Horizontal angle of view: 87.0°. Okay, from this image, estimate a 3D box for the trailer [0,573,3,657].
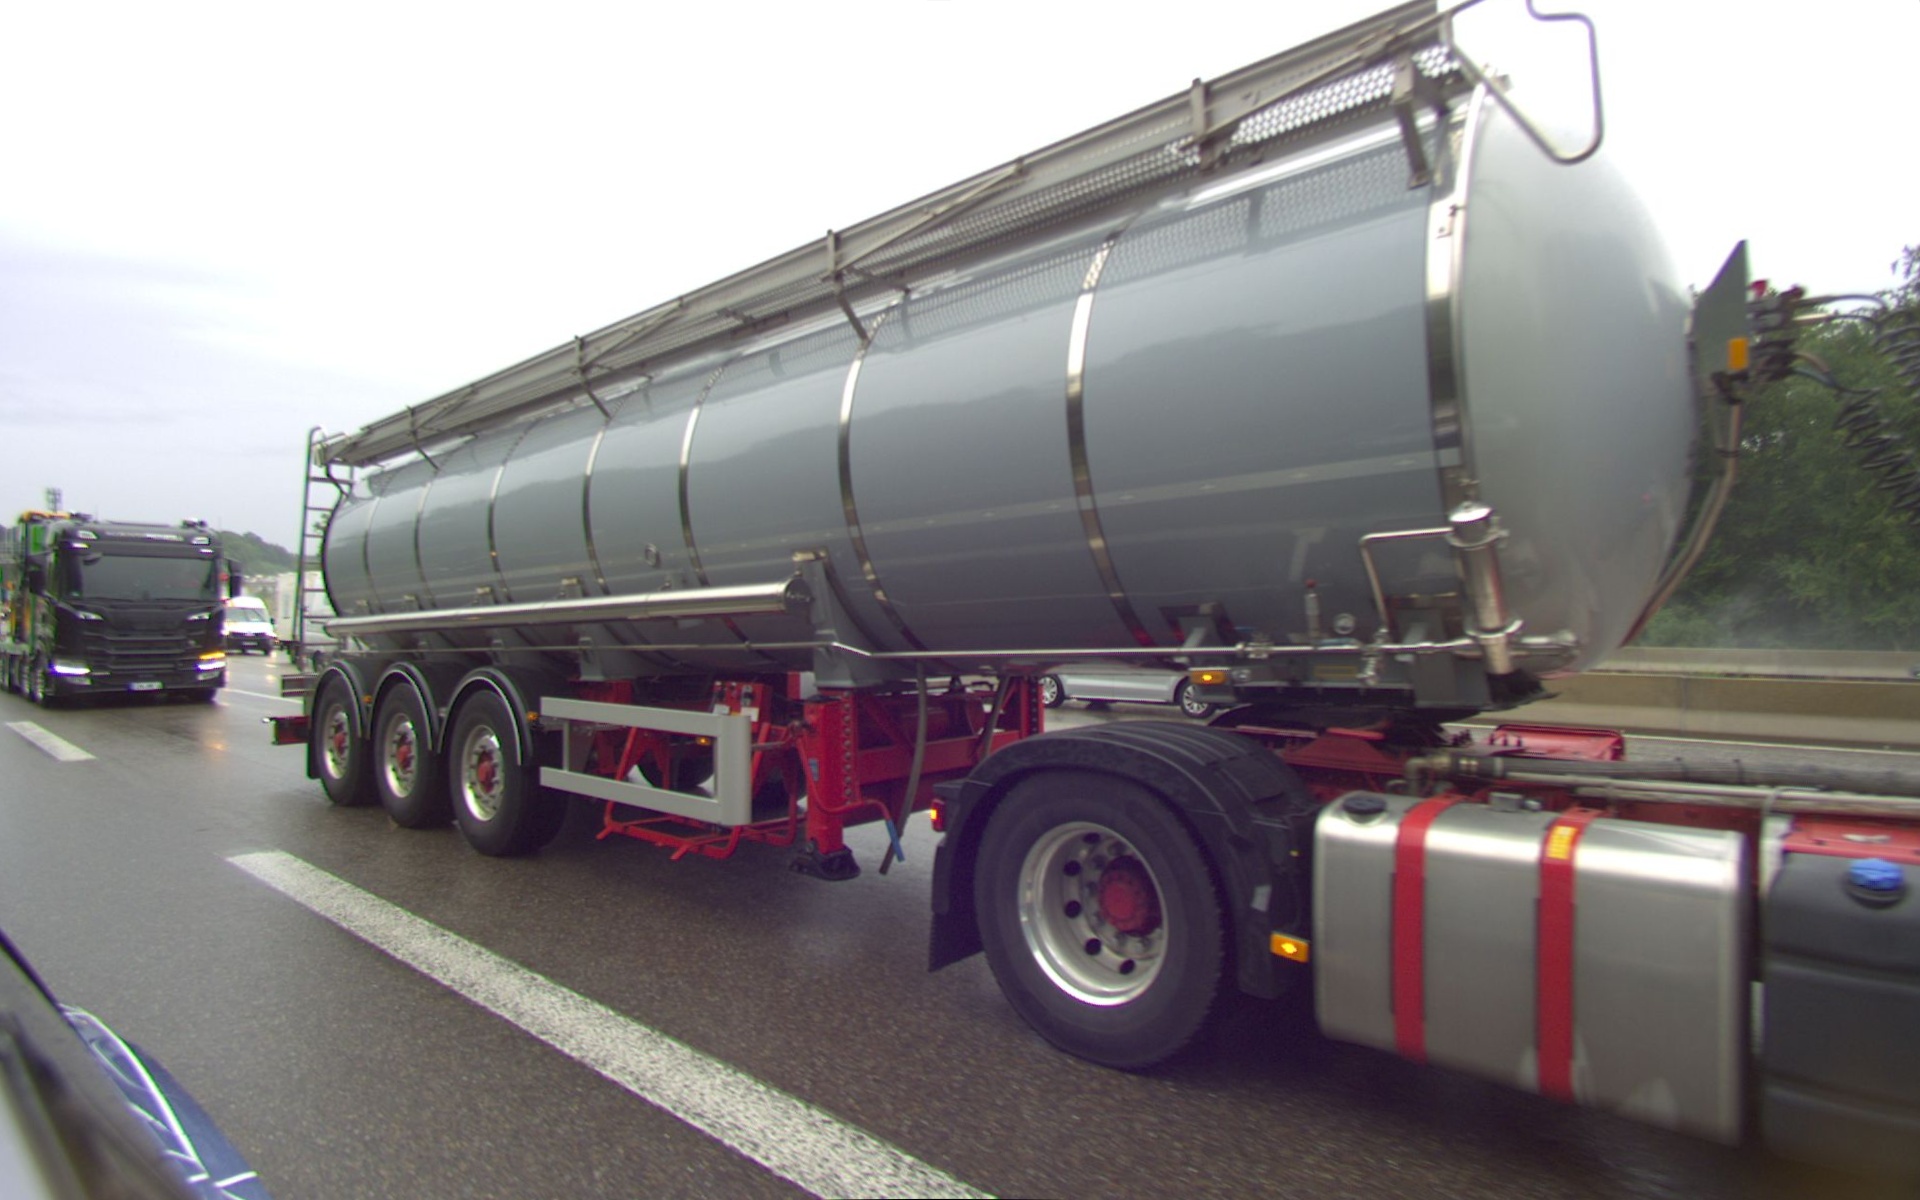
[{"bbox_3d":[-53.864,0.741,54.704,2.884,4.237,13.646,1,-1,-44],"label":"trailer"}]

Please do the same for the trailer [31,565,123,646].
[{"bbox_3d":[-47.530,0.351,54.288,13.680,3.893,2.597,-1,-1,44],"label":"trailer"}]

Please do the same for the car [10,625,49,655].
[{"bbox_3d":[-65.367,2.781,71.108,4.002,1.785,1.738,1,3,44],"label":"car"}]

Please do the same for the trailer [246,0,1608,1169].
[{"bbox_3d":[-1.734,-0.135,6.934,10.072,3.314,2.844,-2,-2,41],"label":"trailer"}]

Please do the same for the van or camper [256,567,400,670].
[{"bbox_3d":[-22.015,0.615,35.072,7.133,3.228,2.550,-1,-1,44],"label":"van or camper"}]

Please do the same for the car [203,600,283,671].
[{"bbox_3d":[-31.620,1.481,44.601,3.999,2.855,1.973,1,3,42],"label":"car"}]

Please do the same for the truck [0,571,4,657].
[{"bbox_3d":[-49.547,0.678,50.260,2.884,4.130,6.724,1,-1,-44],"label":"truck"}]

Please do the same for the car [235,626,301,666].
[{"bbox_3d":[-37.130,2.439,54.271,4.216,2.029,1.972,-1,-2,42],"label":"car"}]

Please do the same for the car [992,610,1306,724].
[{"bbox_3d":[3.123,1.069,17.522,5.080,1.696,1.972,-2,-2,42],"label":"car"}]

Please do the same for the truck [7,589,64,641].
[{"bbox_3d":[-81.671,1.167,89.378,3.307,4.100,12.586,-4,3,-43],"label":"truck"}]

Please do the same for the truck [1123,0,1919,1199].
[{"bbox_3d":[3.337,-0.455,2.523,5.054,3.722,2.847,-2,-2,41],"label":"truck"}]

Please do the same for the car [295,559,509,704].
[{"bbox_3d":[-11.833,0.599,21.243,5.843,2.649,2.191,-1,-1,43],"label":"car"}]

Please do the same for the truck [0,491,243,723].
[{"bbox_3d":[-17.934,0.201,20.890,11.799,3.616,2.800,-1,-2,43],"label":"truck"}]
